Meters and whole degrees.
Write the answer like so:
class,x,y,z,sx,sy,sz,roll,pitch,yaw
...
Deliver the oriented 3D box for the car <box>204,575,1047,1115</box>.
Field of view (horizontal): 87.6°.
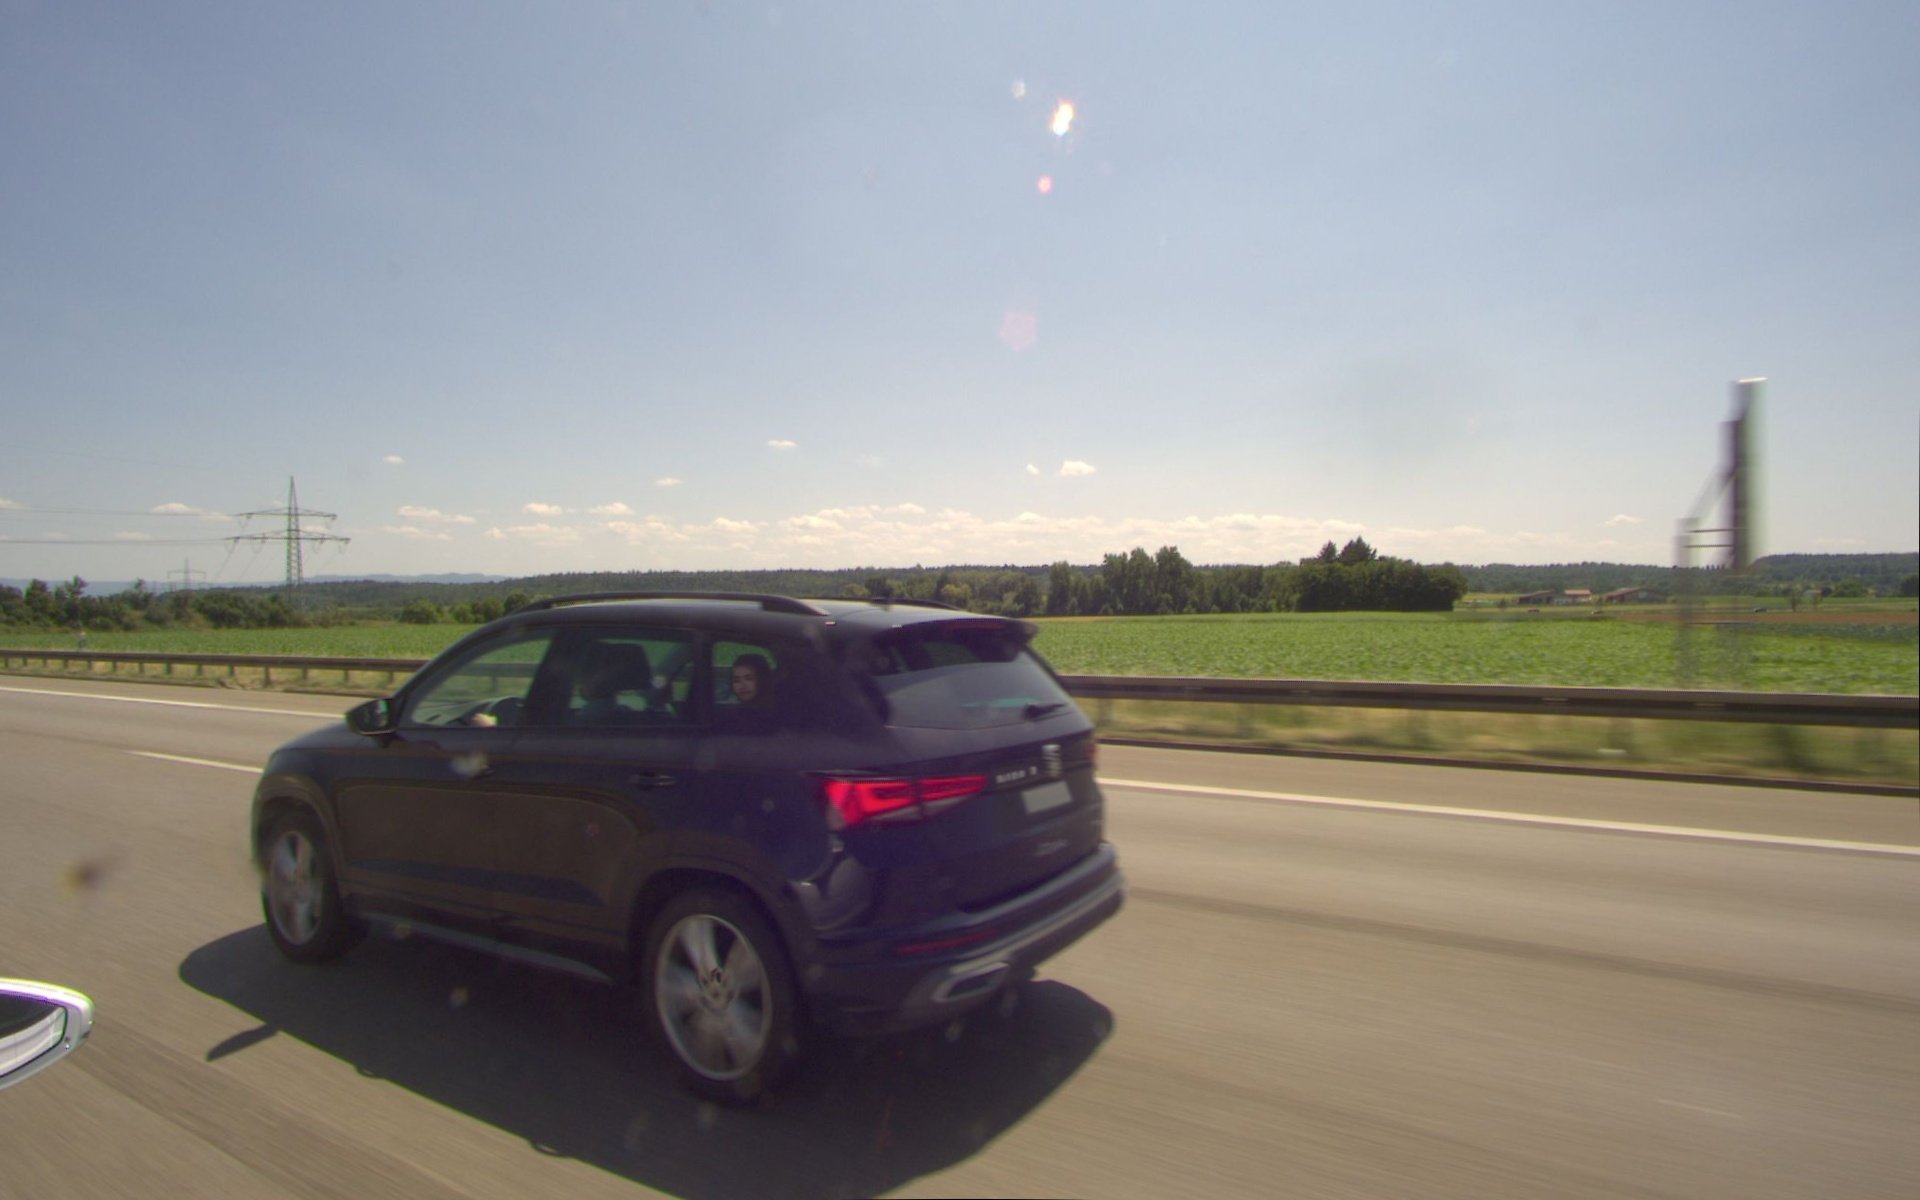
class,x,y,z,sx,sy,sz,roll,pitch,yaw
car,-1.671,0.773,4.714,3.768,1.582,1.794,-1,-2,32
